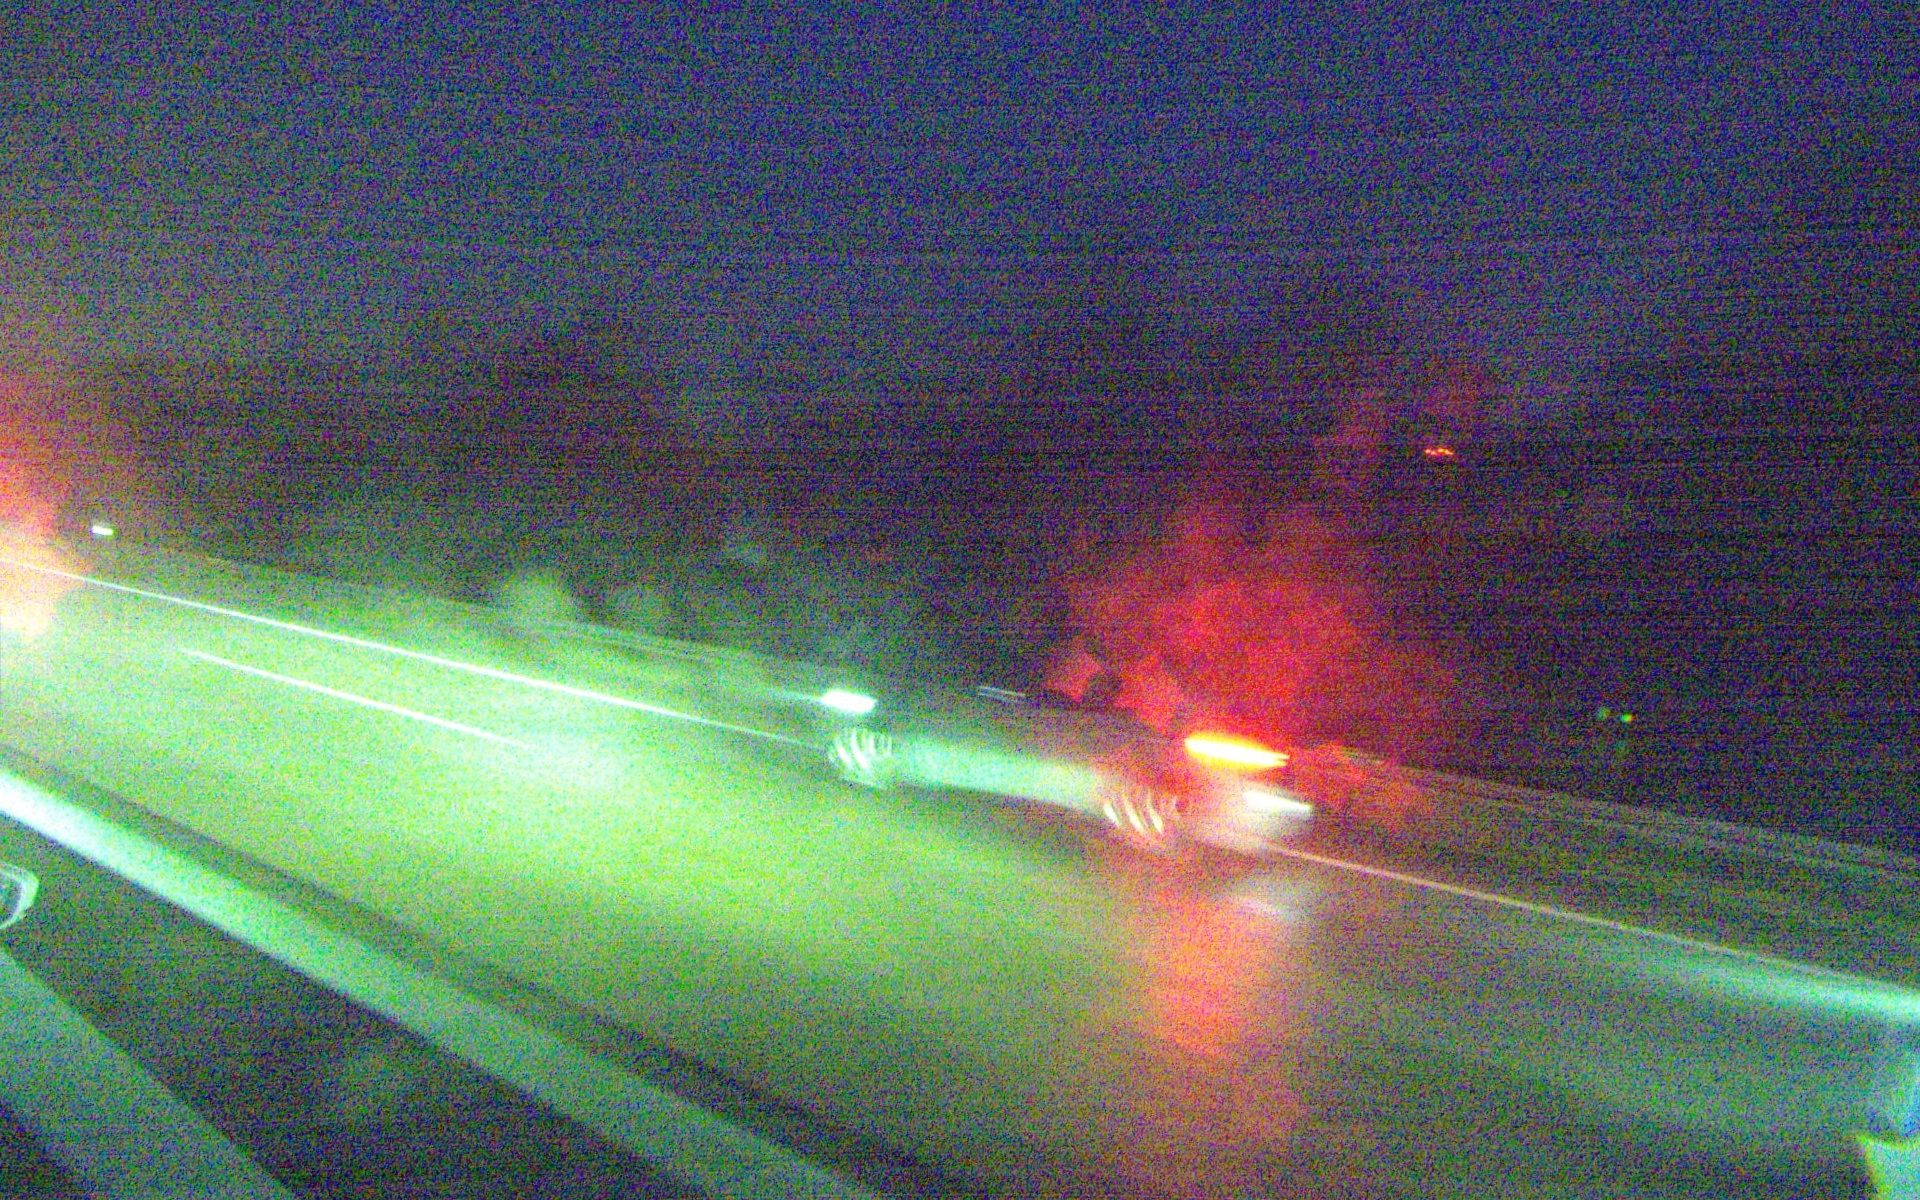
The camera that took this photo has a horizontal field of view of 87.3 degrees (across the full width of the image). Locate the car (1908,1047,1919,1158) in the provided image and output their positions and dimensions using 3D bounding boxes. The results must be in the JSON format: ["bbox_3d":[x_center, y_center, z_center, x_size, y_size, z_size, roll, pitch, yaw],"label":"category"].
[{"bbox_3d":[5.115,1.524,1.984,4.264,1.466,1.997,7,-2,32],"label":"car"}]

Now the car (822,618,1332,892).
[{"bbox_3d":[0.984,1.198,8.857,3.974,1.515,1.724,7,-1,28],"label":"car"}]
